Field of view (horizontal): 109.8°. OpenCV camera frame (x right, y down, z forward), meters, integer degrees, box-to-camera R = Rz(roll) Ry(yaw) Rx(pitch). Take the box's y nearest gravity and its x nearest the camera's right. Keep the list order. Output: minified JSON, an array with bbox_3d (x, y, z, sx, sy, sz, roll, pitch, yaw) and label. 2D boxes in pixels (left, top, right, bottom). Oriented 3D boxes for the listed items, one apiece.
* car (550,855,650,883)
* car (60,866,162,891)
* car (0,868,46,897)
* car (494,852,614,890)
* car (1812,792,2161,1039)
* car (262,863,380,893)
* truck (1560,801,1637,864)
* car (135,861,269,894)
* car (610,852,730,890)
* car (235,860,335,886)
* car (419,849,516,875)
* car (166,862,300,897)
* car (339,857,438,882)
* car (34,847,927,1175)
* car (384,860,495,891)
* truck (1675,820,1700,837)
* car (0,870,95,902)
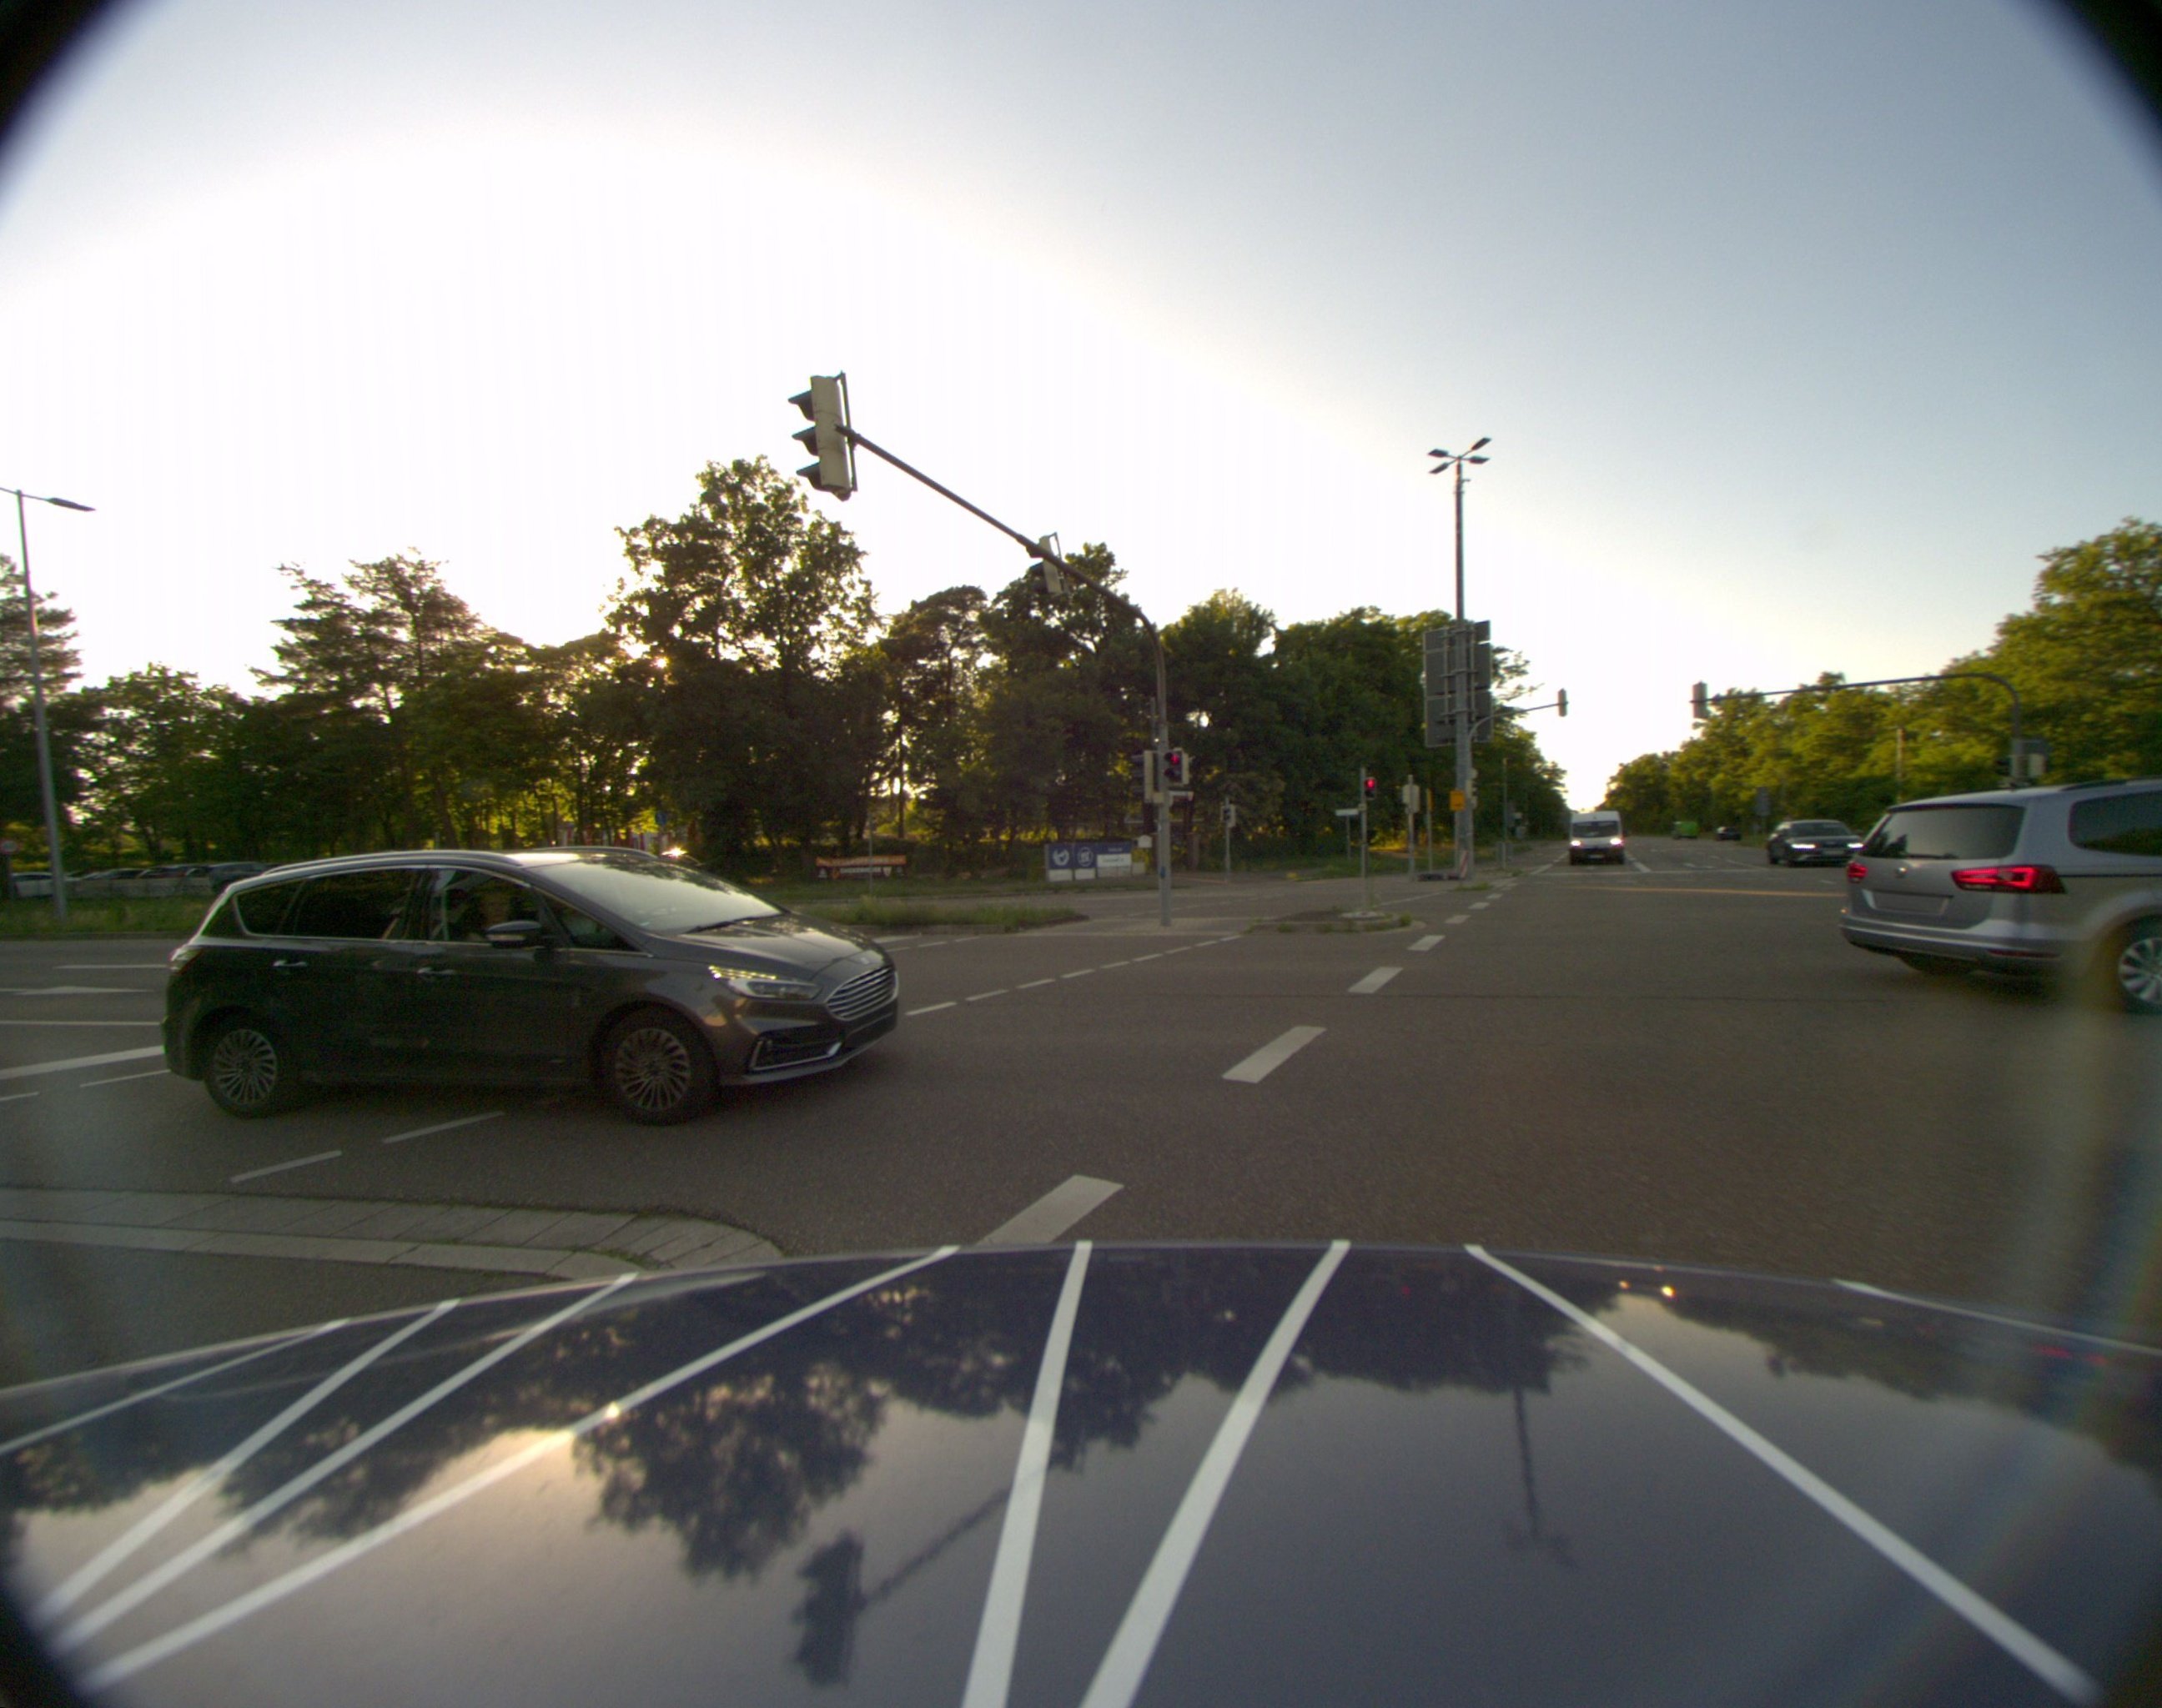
[{"bbox_3d":[-27.101,0.827,42.873,4.542,1.399,1.866,-1,1,6],"label":"car"},{"bbox_3d":[-62.555,1.567,49.018,4.542,1.399,1.866,-1,1,6],"label":"car"},{"bbox_3d":[-58.560,1.593,40.148,1.781,1.470,4.172,-1,1,8],"label":"car"},{"bbox_3d":[-25.301,0.810,36.542,4.542,1.649,1.866,-1,1,6],"label":"car"},{"bbox_3d":[9.109,0.369,5.918,4.652,1.715,1.873,-2,1,11],"label":"car"},{"bbox_3d":[-38.007,1.183,38.048,4.494,1.317,1.680,-1,1,6],"label":"car"},{"bbox_3d":[23.932,-0.951,35.355,2.599,2.542,6.034,-4,-1,32],"label":"truck"},{"bbox_3d":[-45.150,1.157,39.173,1.997,1.445,4.002,-1,1,8],"label":"car"},{"bbox_3d":[-19.187,0.773,35.630,4.546,1.649,1.864,-1,1,-4],"label":"car"},{"bbox_3d":[-49.682,1.165,47.476,4.542,1.399,1.866,-1,1,6],"label":"car"},{"bbox_3d":[-36.992,0.471,45.869,4.542,1.399,1.866,-1,1,6],"label":"car"},{"bbox_3d":[-41.868,1.239,37.667,1.759,1.470,4.053,-1,1,12],"label":"car"},{"bbox_3d":[-42.515,0.934,46.705,4.542,1.399,1.866,-1,1,6],"label":"car"},{"bbox_3d":[-3.770,0.892,5.268,4.814,1.652,2.013,-2,2,8],"label":"car"},{"bbox_3d":[-31.471,1.036,37.337,3.995,1.324,1.866,-1,1,6],"label":"car"},{"bbox_3d":[78.571,-3.351,98.456,1.994,2.109,4.007,-1,2,31],"label":"truck"},{"bbox_3d":[-55.640,1.688,39.972,1.781,1.470,4.172,-1,1,8],"label":"car"}]
